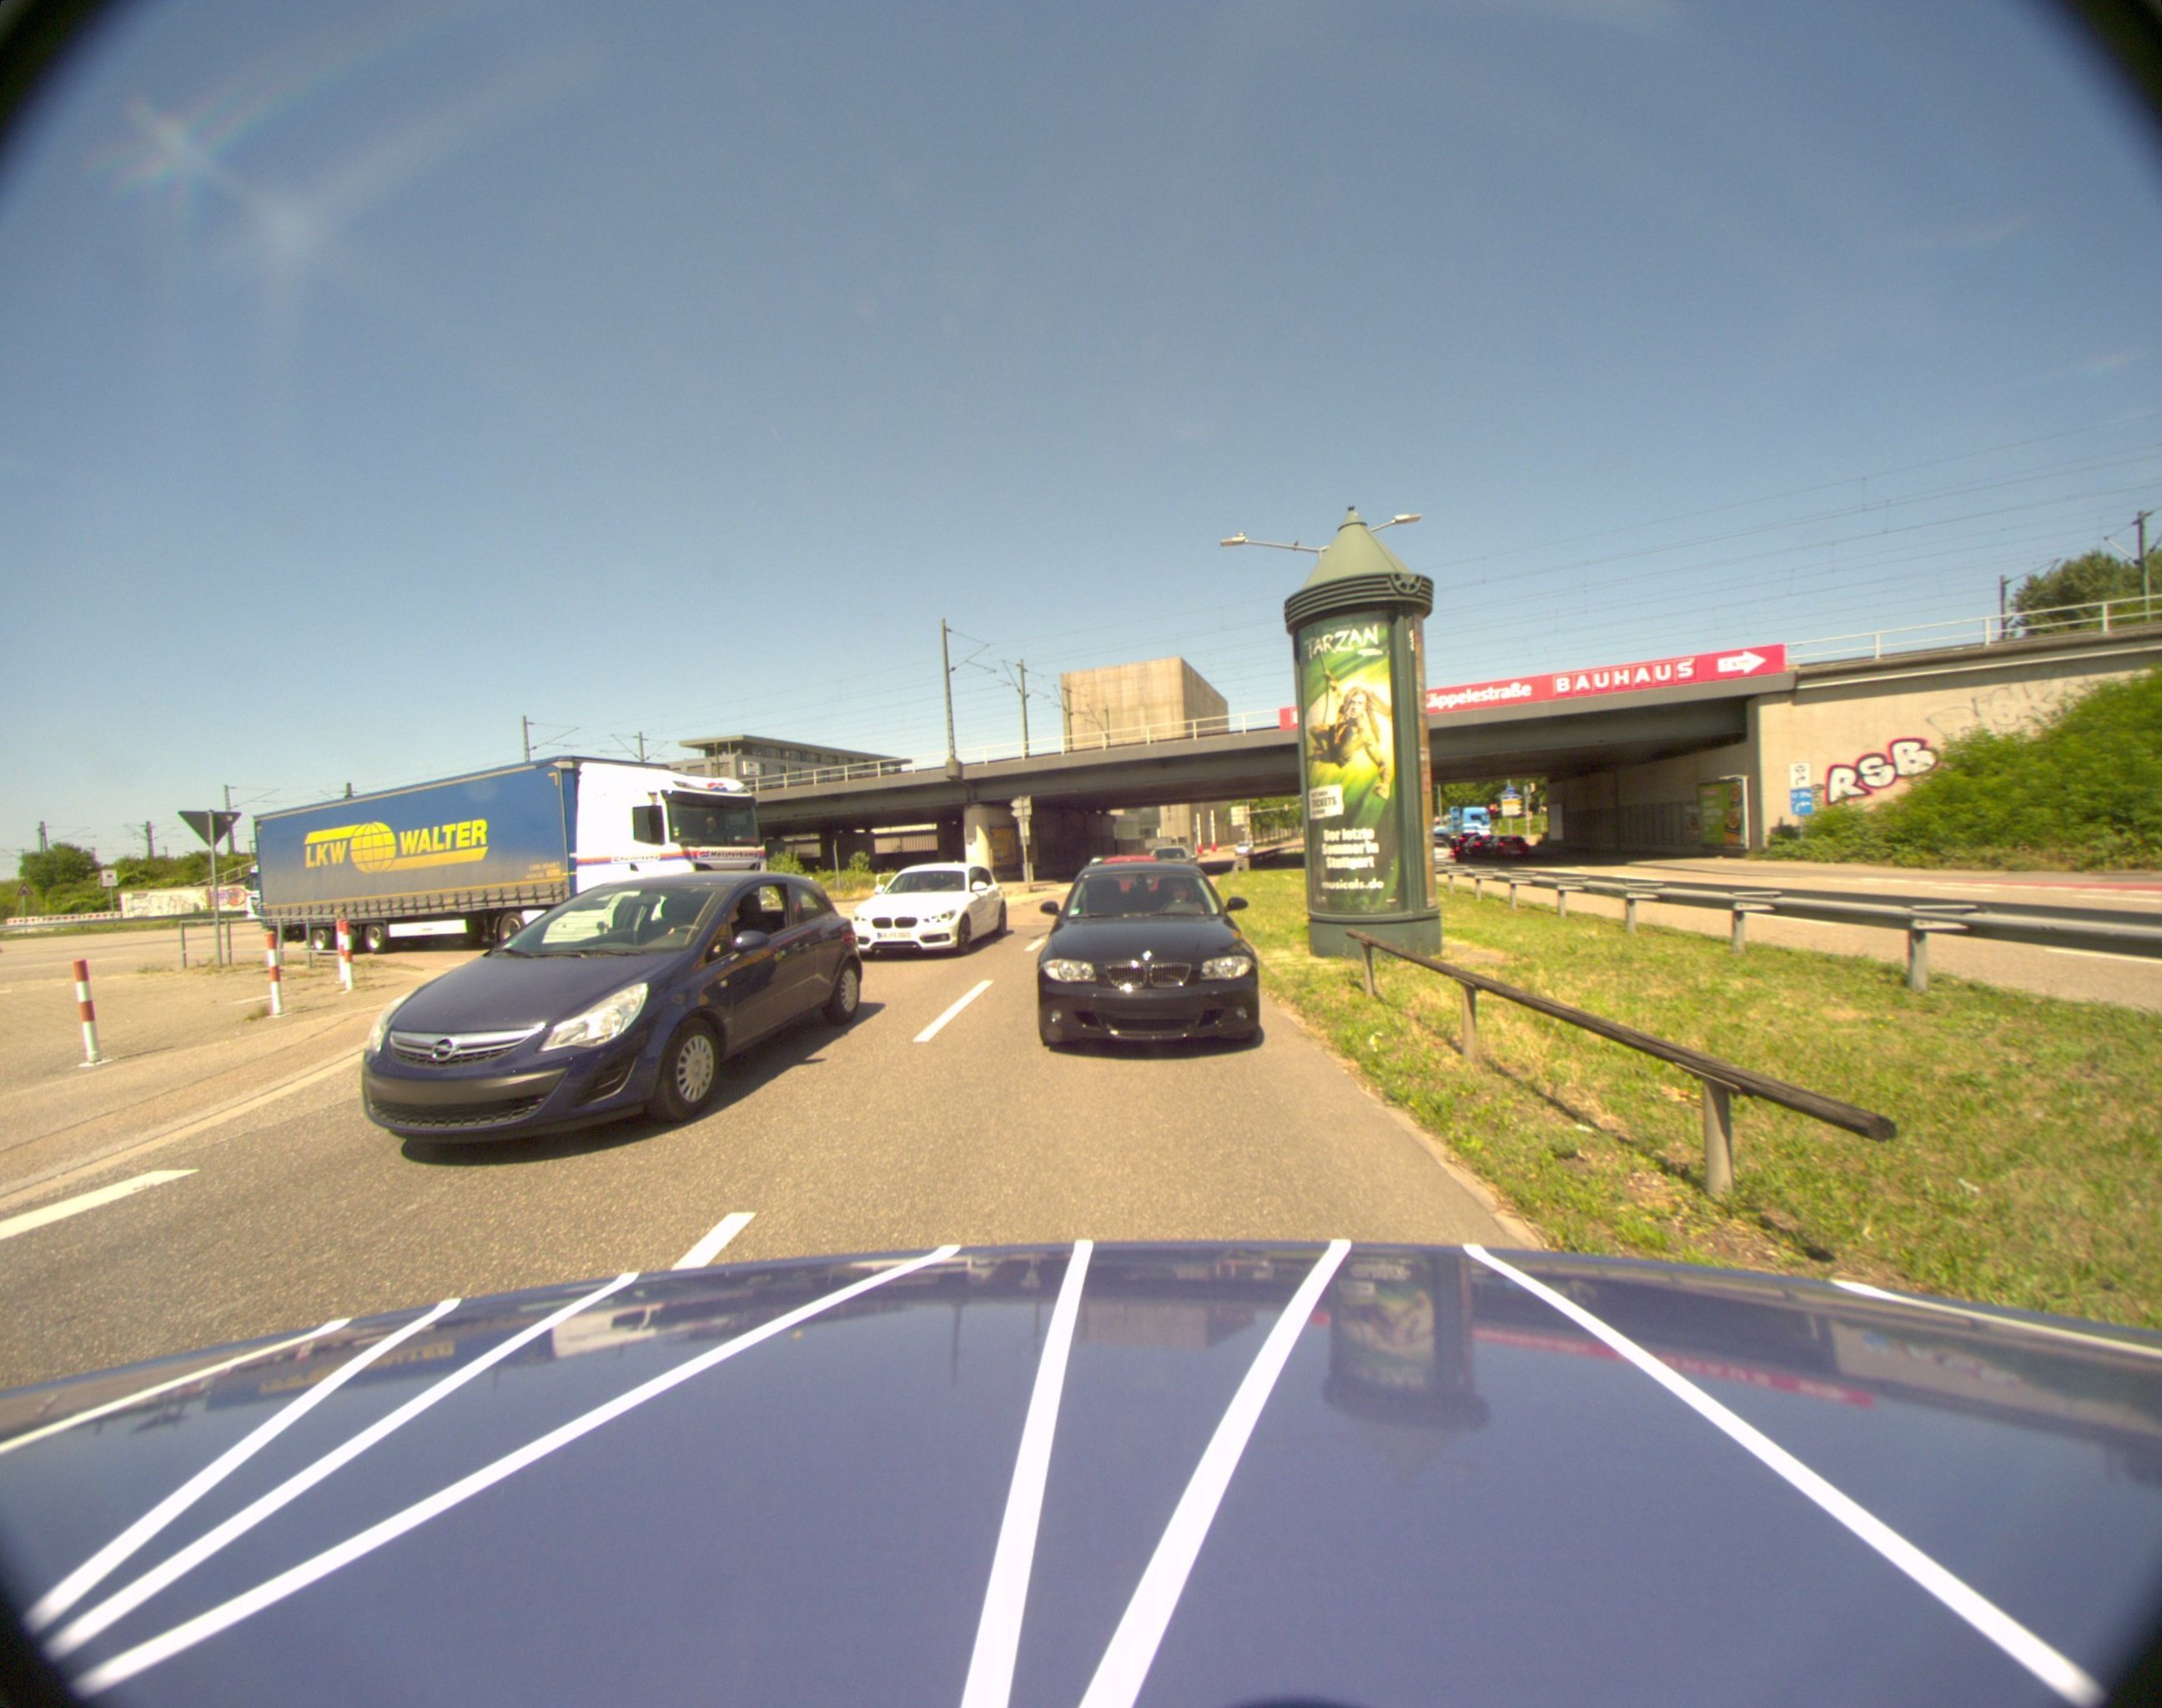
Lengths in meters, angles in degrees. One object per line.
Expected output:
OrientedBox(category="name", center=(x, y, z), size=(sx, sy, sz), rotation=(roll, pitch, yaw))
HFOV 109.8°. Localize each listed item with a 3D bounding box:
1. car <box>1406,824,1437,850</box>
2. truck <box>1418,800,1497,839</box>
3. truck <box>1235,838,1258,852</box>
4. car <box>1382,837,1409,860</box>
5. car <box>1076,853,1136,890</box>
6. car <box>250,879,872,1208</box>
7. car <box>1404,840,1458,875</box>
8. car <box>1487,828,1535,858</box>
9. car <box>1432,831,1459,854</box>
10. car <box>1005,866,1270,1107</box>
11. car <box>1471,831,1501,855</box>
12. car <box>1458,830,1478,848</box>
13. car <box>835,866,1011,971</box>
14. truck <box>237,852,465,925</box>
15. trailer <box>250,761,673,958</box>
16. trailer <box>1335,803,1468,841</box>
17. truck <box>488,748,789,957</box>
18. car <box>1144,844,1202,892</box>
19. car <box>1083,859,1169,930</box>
OrientedBox(category="car", center=(26.186, -1.336, 58.527), size=(1.904, 1.849, 4.005), rotation=(-2, 1, 22))
OrientedBox(category="truck", center=(36.822, -3.358, 74.449), size=(6.548, 3.398, 3.028), rotation=(-2, 1, 33))
OrientedBox(category="truck", center=(18.585, -1.027, 85.335), size=(1.728, 1.493, 4.006), rotation=(-2, 1, 24))
OrientedBox(category="car", center=(19.420, -0.352, 46.883), size=(1.410, 1.311, 3.266), rotation=(-2, 1, 25))
OrientedBox(category="car", center=(1.182, 0.727, 33.668), size=(1.715, 1.434, 4.004), rotation=(-2, 1, 15))
OrientedBox(category="car", center=(-3.072, 0.998, 5.615), size=(1.649, 1.435, 3.892), rotation=(-2, 0, 5))
OrientedBox(category="car", center=(14.981, 0.108, 32.659), size=(1.636, 1.395, 4.227), rotation=(-1, 1, 18))
OrientedBox(category="car", center=(25.370, -0.655, 44.959), size=(1.774, 1.658, 4.020), rotation=(-2, 1, 19))
OrientedBox(category="car", center=(25.479, -0.839, 53.145), size=(1.617, 1.468, 3.438), rotation=(-2, 1, 26))
OrientedBox(category="car", center=(0.519, 0.910, 6.994), size=(1.681, 1.409, 4.057), rotation=(-2, 1, 4))
OrientedBox(category="car", center=(26.913, -0.735, 50.575), size=(1.571, 1.494, 3.412), rotation=(-2, 1, 25))
OrientedBox(category="car", center=(28.987, -1.129, 56.944), size=(1.183, 1.241, 2.696), rotation=(-2, 1, 26))
OrientedBox(category="car", center=(-2.494, 0.967, 13.053), size=(1.762, 1.435, 4.054), rotation=(0, 0, 6))
OrientedBox(category="truck", center=(-49.475, 1.987, 52.874), size=(2.754, 4.079, 17.420), rotation=(-3, 1, -13))
OrientedBox(category="trailer", center=(-16.582, 0.419, 19.746), size=(13.873, 4.066, 2.504), rotation=(-3, 1, 25))
OrientedBox(category="trailer", center=(32.964, -3.195, 79.212), size=(2.969, 3.354, 13.862), rotation=(-3, 1, -29))
OrientedBox(category="truck", center=(-9.849, 0.031, 16.992), size=(5.749, 4.078, 2.579), rotation=(-2, 1, 21))
OrientedBox(category="car", center=(3.661, 0.504, 29.646), size=(1.844, 1.686, 3.702), rotation=(-2, 1, 12))
OrientedBox(category="car", center=(1.146, 0.833, 17.519), size=(1.645, 1.391, 4.055), rotation=(0, 0, 8))
